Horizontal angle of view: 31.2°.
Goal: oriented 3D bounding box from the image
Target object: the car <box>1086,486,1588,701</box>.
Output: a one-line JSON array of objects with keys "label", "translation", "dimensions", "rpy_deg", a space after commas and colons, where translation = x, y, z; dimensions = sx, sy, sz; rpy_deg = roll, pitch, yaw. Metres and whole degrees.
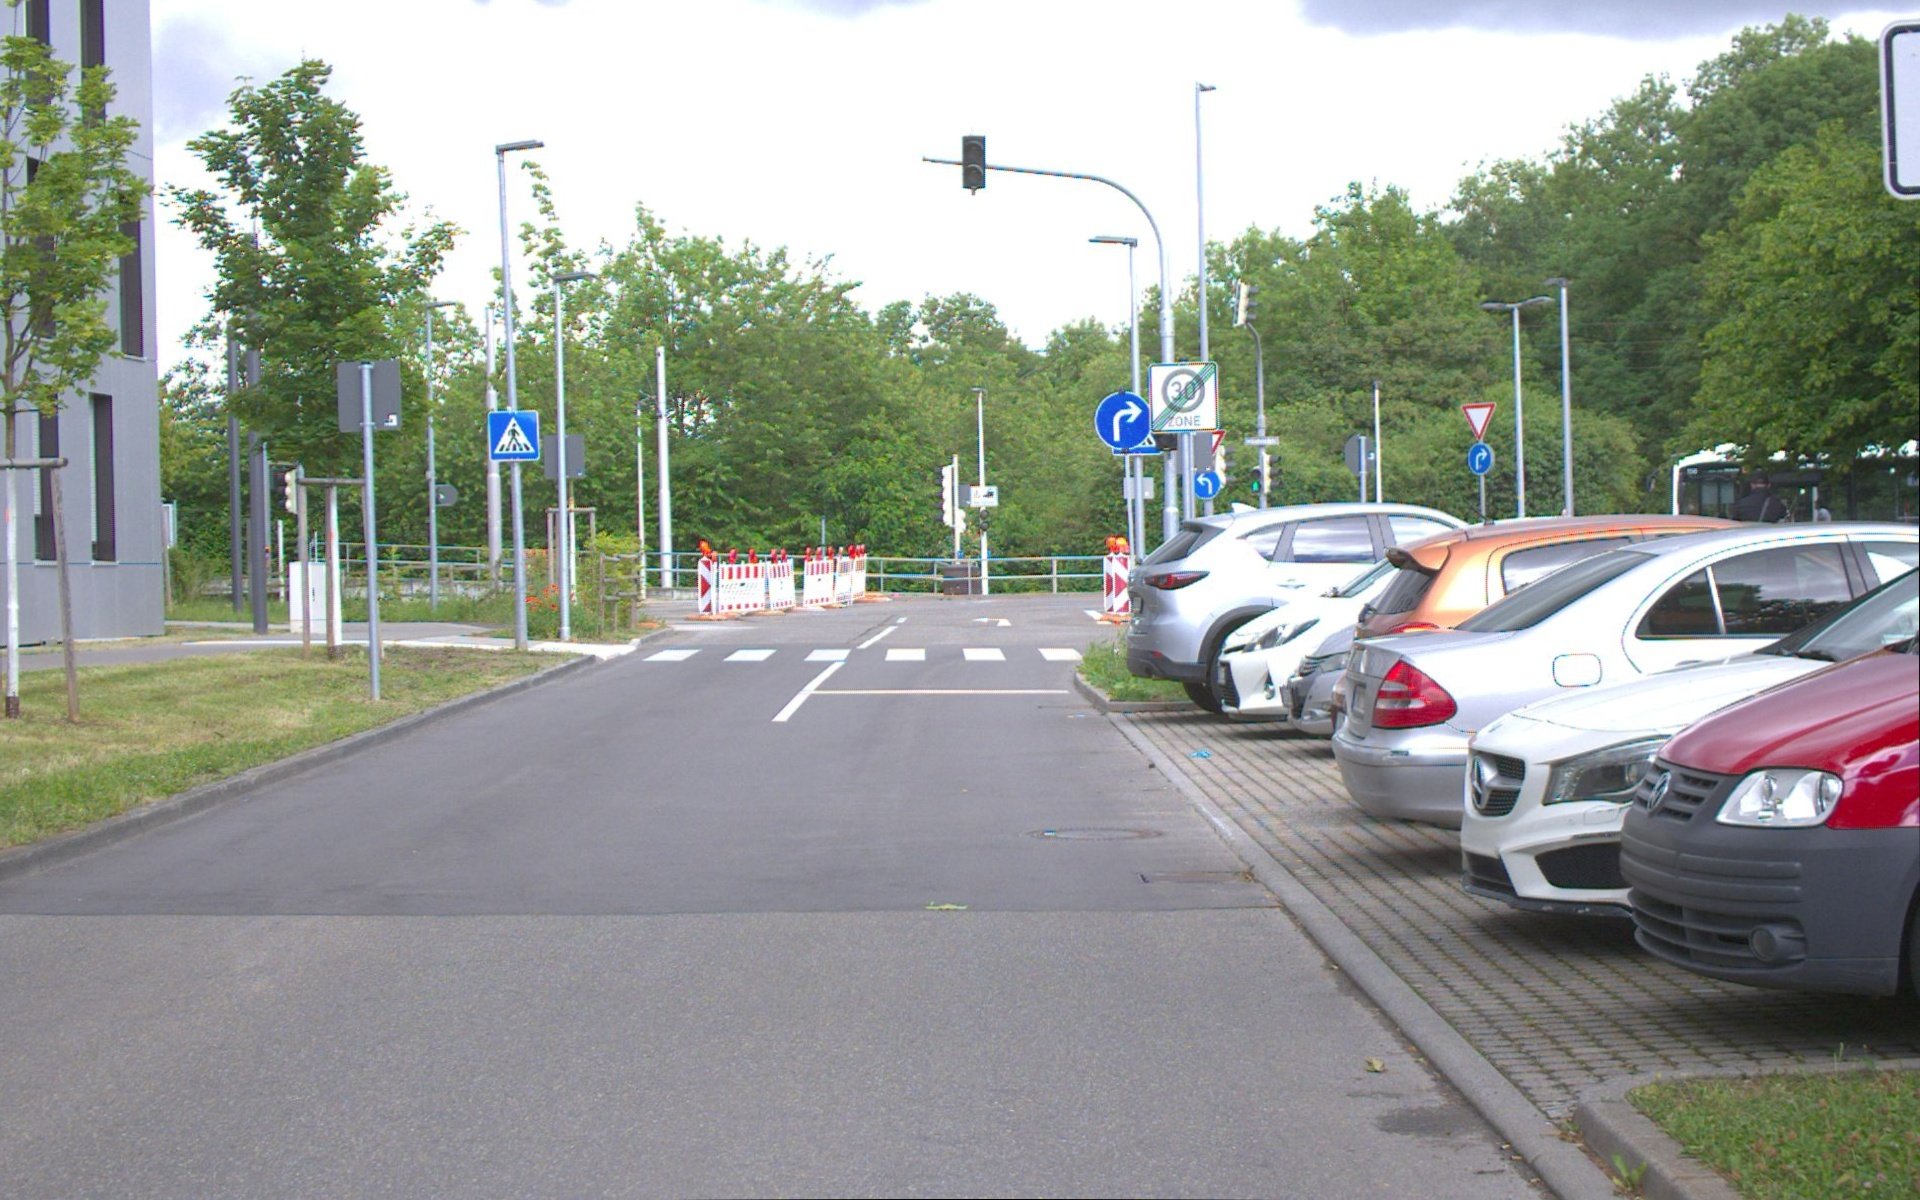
[{"label": "car", "translation": [3.429, -0.086, 31.840], "dimensions": [4.378, 1.897, 1.917], "rpy_deg": [0, 1, -2]}]

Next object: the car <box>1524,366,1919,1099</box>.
[{"label": "car", "translation": [4.008, 0.306, 9.955], "dimensions": [4.378, 1.897, 1.937], "rpy_deg": [0, 1, -2]}]

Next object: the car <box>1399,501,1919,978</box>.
[{"label": "car", "translation": [3.924, 0.438, 12.405], "dimensions": [4.378, 1.568, 1.916], "rpy_deg": [0, 1, -2]}]

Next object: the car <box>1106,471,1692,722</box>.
[{"label": "car", "translation": [3.432, -0.055, 27.454], "dimensions": [4.378, 1.897, 1.917], "rpy_deg": [0, 1, -2]}]

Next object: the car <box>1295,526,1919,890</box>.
[{"label": "car", "translation": [3.792, 0.416, 15.150], "dimensions": [4.378, 1.470, 1.917], "rpy_deg": [0, 1, -2]}]

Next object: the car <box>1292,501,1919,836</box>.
[{"label": "car", "translation": [4.025, 0.302, 17.755], "dimensions": [4.378, 1.612, 1.917], "rpy_deg": [0, 1, -2]}]

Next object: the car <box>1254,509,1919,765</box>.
[{"label": "car", "translation": [4.240, 0.207, 22.655], "dimensions": [4.378, 1.577, 1.917], "rpy_deg": [0, 1, -2]}]

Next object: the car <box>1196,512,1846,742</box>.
[{"label": "car", "translation": [4.007, 0.161, 25.067], "dimensions": [4.378, 1.577, 1.917], "rpy_deg": [0, 1, -2]}]
